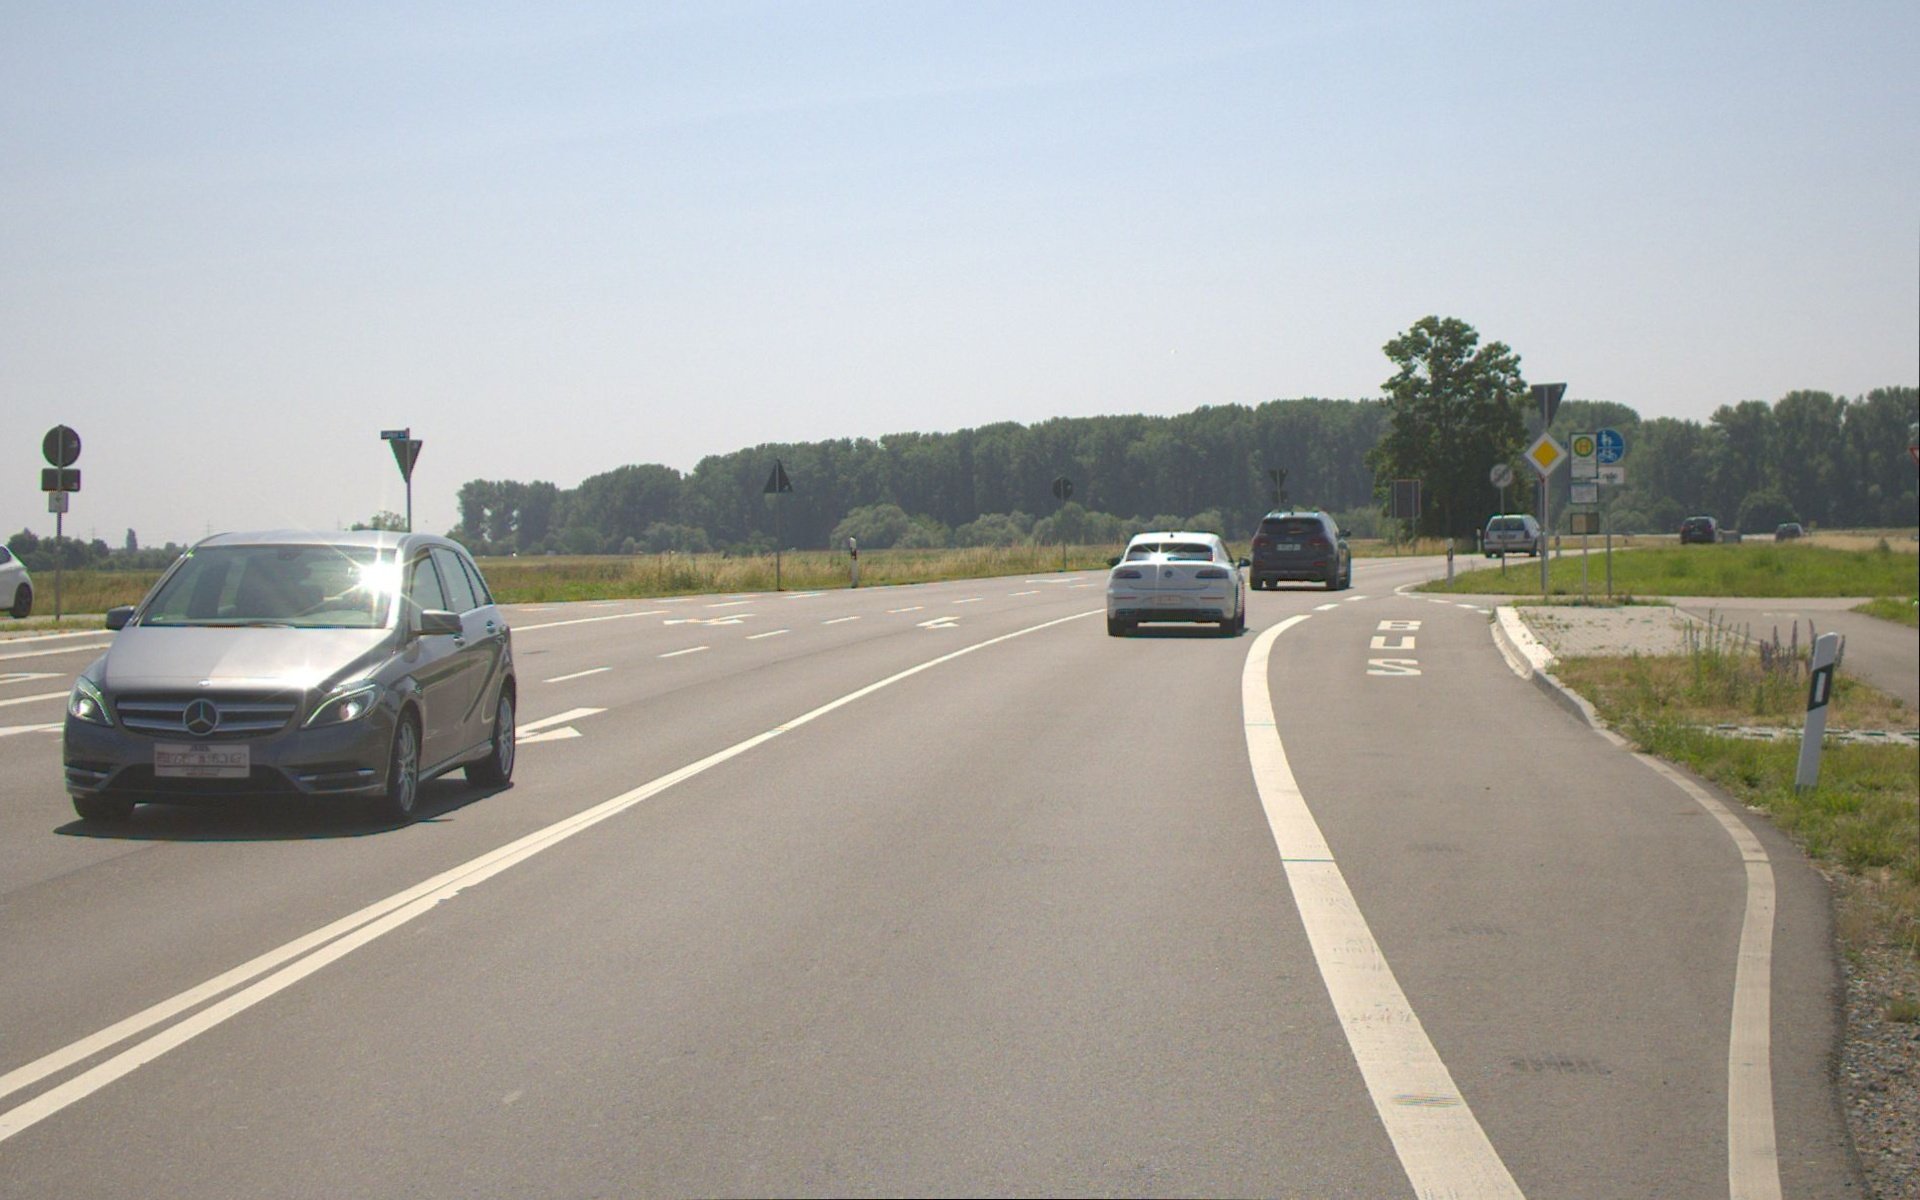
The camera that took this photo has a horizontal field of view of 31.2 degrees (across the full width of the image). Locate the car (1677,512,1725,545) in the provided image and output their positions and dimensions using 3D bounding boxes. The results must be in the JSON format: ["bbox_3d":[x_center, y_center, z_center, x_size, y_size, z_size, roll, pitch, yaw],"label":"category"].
[{"bbox_3d":[36.795,-3.536,170.664,1.801,1.471,4.410,-2,-1,18],"label":"car"}]

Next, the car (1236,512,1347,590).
[{"bbox_3d":[7.271,-1.093,75.104,1.936,1.611,4.376,-1,1,12],"label":"car"}]

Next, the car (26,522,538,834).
[{"bbox_3d":[-3.689,0.348,19.496,1.732,1.550,4.379,0,1,4],"label":"car"}]

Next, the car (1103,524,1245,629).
[{"bbox_3d":[3.107,-0.323,49.266,1.848,1.428,4.607,0,0,6],"label":"car"}]

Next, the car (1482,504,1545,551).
[{"bbox_3d":[18.709,-2.421,116.125,1.801,1.424,4.090,-2,-1,13],"label":"car"}]

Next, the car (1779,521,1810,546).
[{"bbox_3d":[51.913,-4.127,213.851,1.801,1.516,3.880,1,2,15],"label":"car"}]

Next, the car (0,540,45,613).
[{"bbox_3d":[-18.305,-0.431,62.153,1.692,1.327,4.035,1,1,13],"label":"car"}]
